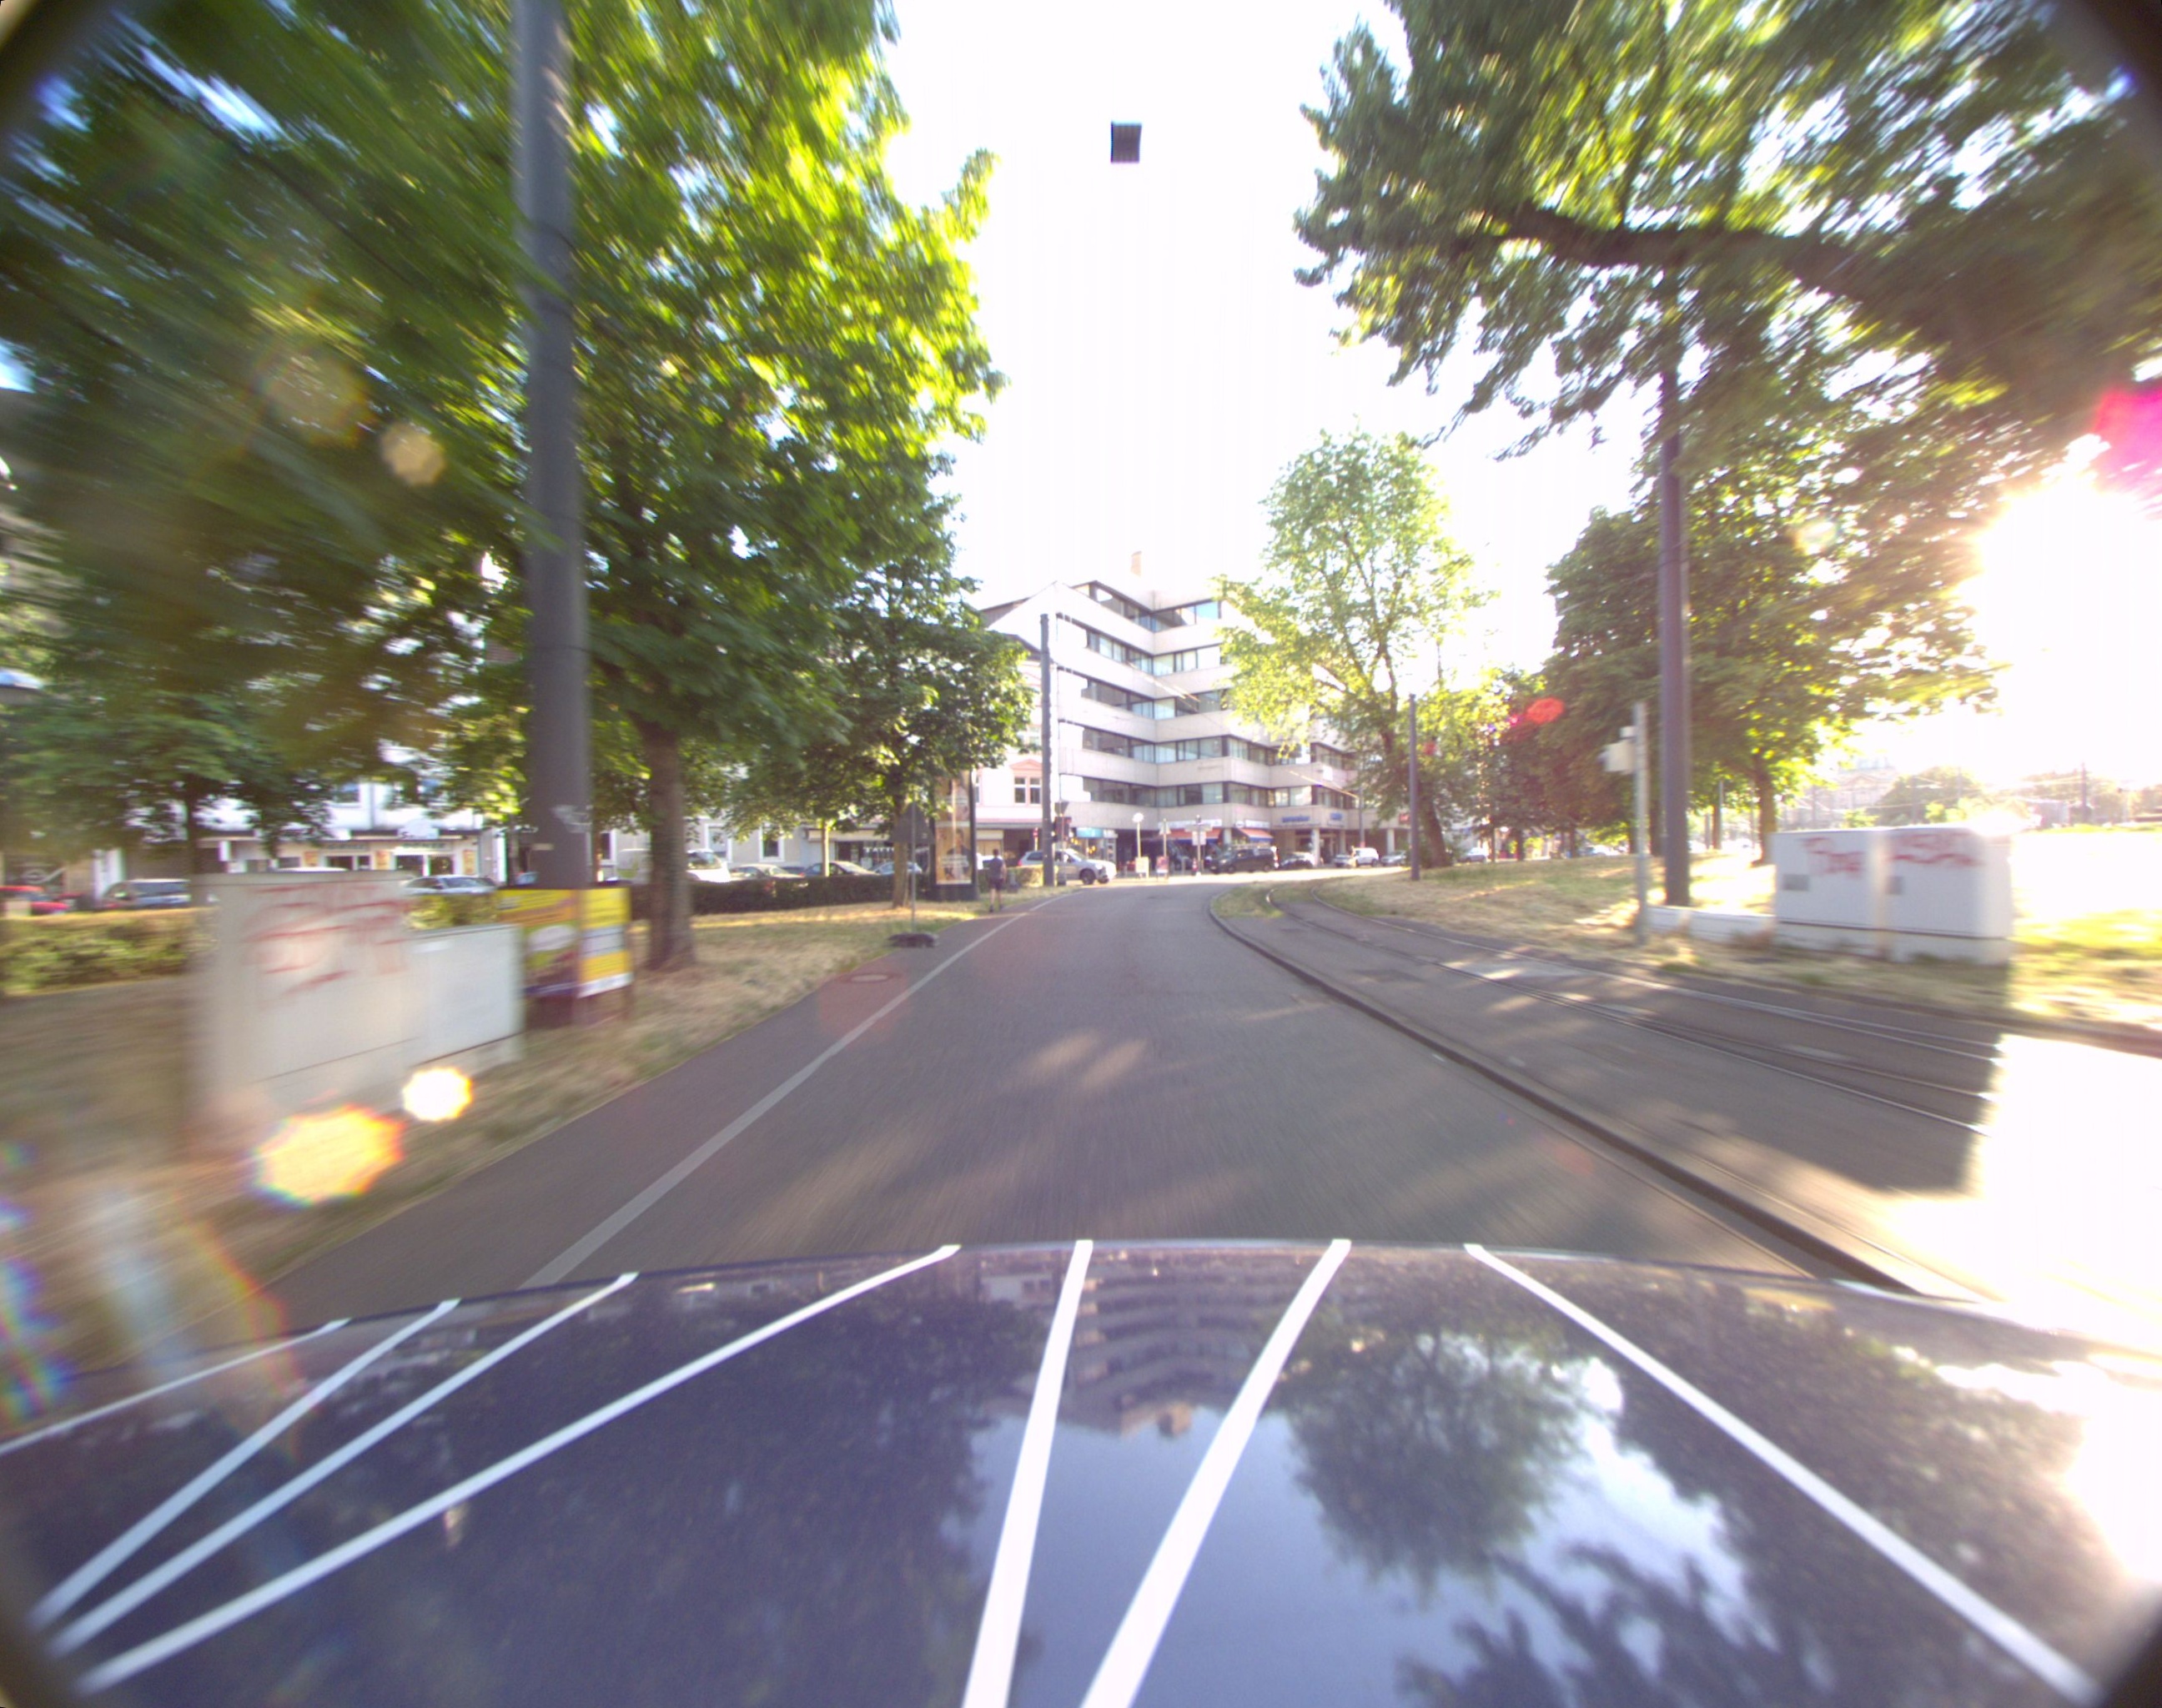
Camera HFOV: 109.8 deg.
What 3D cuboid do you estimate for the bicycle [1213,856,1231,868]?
[{"bbox_3d":[11.836,0.655,63.829,1.444,0.987,0.531,0,3,9],"label":"bicycle"}]

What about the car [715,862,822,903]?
[{"bbox_3d":[-13.226,1.214,32.205,3.990,1.595,1.955,-2,0,26],"label":"car"}]

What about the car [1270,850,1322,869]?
[{"bbox_3d":[17.802,0.426,62.982,4.006,1.433,1.791,-2,0,-29],"label":"car"}]

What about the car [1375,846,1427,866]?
[{"bbox_3d":[29.496,0.176,70.020,4.529,1.596,1.996,-2,0,-28],"label":"car"}]

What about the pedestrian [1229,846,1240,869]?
[{"bbox_3d":[12.580,0.310,62.178,0.605,1.828,0.572,-1,4,-42],"label":"pedestrian"}]

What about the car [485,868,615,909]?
[{"bbox_3d":[-20.126,1.303,28.852,3.992,1.390,2.003,-2,0,19],"label":"car"}]

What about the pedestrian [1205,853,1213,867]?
[{"bbox_3d":[10.924,0.504,64.761,0.460,1.188,0.421,4,4,36],"label":"pedestrian"}]

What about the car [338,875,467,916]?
[{"bbox_3d":[-30.665,1.825,34.512,4.006,1.488,1.947,-2,3,-30],"label":"car"}]

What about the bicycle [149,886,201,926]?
[{"bbox_3d":[-24.788,1.406,20.809,0.325,0.990,1.471,-2,1,-26],"label":"bicycle"}]

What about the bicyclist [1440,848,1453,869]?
[{"bbox_3d":[31.547,0.372,65.558,0.859,1.773,0.988,0,1,36],"label":"bicyclist"}]

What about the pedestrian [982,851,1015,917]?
[{"bbox_3d":[-2.226,0.794,20.511,0.587,1.733,0.644,-1,0,25],"label":"pedestrian"}]

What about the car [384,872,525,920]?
[{"bbox_3d":[-22.187,1.486,26.947,3.992,1.477,2.003,-2,0,19],"label":"car"}]

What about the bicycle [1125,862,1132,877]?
[{"bbox_3d":[3.381,1.106,53.949,0.302,0.987,1.294,-2,0,-4],"label":"bicycle"}]

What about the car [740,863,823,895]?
[{"bbox_3d":[-16.757,1.350,42.521,4.006,1.484,1.820,-2,3,-32],"label":"car"}]

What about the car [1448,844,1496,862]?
[{"bbox_3d":[38.956,-0.071,75.661,4.529,1.596,1.996,-2,0,-28],"label":"car"}]

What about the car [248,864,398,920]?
[{"bbox_3d":[-25.383,1.263,25.477,3.991,1.696,2.003,-2,0,20],"label":"car"}]

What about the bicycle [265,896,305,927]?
[{"bbox_3d":[-22.336,1.593,21.344,0.447,0.775,1.272,-2,1,-32],"label":"bicycle"}]

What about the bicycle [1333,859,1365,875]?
[{"bbox_3d":[19.558,0.916,55.511,2.224,1.070,0.934,-2,0,-28],"label":"bicycle"}]

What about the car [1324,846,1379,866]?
[{"bbox_3d":[23.855,0.164,67.072,4.529,1.596,1.996,-2,0,-28],"label":"car"}]

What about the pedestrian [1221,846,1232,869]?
[{"bbox_3d":[12.012,0.278,62.631,0.537,1.828,0.618,-1,4,-42],"label":"pedestrian"}]

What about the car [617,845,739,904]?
[{"bbox_3d":[-16.342,0.840,30.781,4.868,2.227,2.098,-2,0,32],"label":"car"}]

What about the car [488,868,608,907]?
[{"bbox_3d":[-23.499,1.424,33.736,4.168,1.477,1.933,-2,0,-30],"label":"car"}]

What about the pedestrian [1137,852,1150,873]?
[{"bbox_3d":[4.694,0.660,56.964,0.794,1.528,0.568,-2,2,-27],"label":"pedestrian"}]

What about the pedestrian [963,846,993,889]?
[{"bbox_3d":[-4.260,0.550,31.422,0.725,1.720,0.979,-2,0,27],"label":"pedestrian"}]

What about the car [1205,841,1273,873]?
[{"bbox_3d":[11.484,0.210,55.219,4.529,2.143,1.996,-2,0,-28],"label":"car"}]

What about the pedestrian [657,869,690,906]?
[{"bbox_3d":[-14.538,1.180,27.134,0.962,1.219,1.368,-2,0,-28],"label":"pedestrian"}]

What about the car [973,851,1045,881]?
[{"bbox_3d":[-4.735,0.767,49.846,4.235,1.774,1.927,-2,2,-31],"label":"car"}]

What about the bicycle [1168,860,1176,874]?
[{"bbox_3d":[6.797,0.954,56.696,0.302,0.987,1.294,-2,0,-4],"label":"bicycle"}]

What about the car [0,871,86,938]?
[{"bbox_3d":[-30.674,1.450,21.572,3.991,1.763,1.915,-2,0,22],"label":"car"}]

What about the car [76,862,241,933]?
[{"bbox_3d":[-28.819,1.346,23.767,3.991,2.002,2.003,-2,0,20],"label":"car"}]

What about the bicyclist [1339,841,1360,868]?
[{"bbox_3d":[19.634,0.048,55.563,1.115,1.962,0.923,-2,0,-28],"label":"bicyclist"}]

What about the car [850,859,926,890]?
[{"bbox_3d":[-11.573,1.194,45.693,4.006,1.631,1.994,-2,3,-30],"label":"car"}]

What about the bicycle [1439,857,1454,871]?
[{"bbox_3d":[31.522,0.878,65.524,0.871,1.090,1.853,-2,0,35],"label":"bicycle"}]

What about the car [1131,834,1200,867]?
[{"bbox_3d":[7.182,-0.322,64.720,5.419,2.712,2.186,0,2,33],"label":"car"}]

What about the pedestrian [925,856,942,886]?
[{"bbox_3d":[-9.180,1.039,47.166,0.796,1.789,0.637,-2,0,-31],"label":"pedestrian"}]

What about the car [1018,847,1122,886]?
[{"bbox_3d":[-0.566,0.636,37.812,4.699,1.761,2.003,-2,0,24],"label":"car"}]
